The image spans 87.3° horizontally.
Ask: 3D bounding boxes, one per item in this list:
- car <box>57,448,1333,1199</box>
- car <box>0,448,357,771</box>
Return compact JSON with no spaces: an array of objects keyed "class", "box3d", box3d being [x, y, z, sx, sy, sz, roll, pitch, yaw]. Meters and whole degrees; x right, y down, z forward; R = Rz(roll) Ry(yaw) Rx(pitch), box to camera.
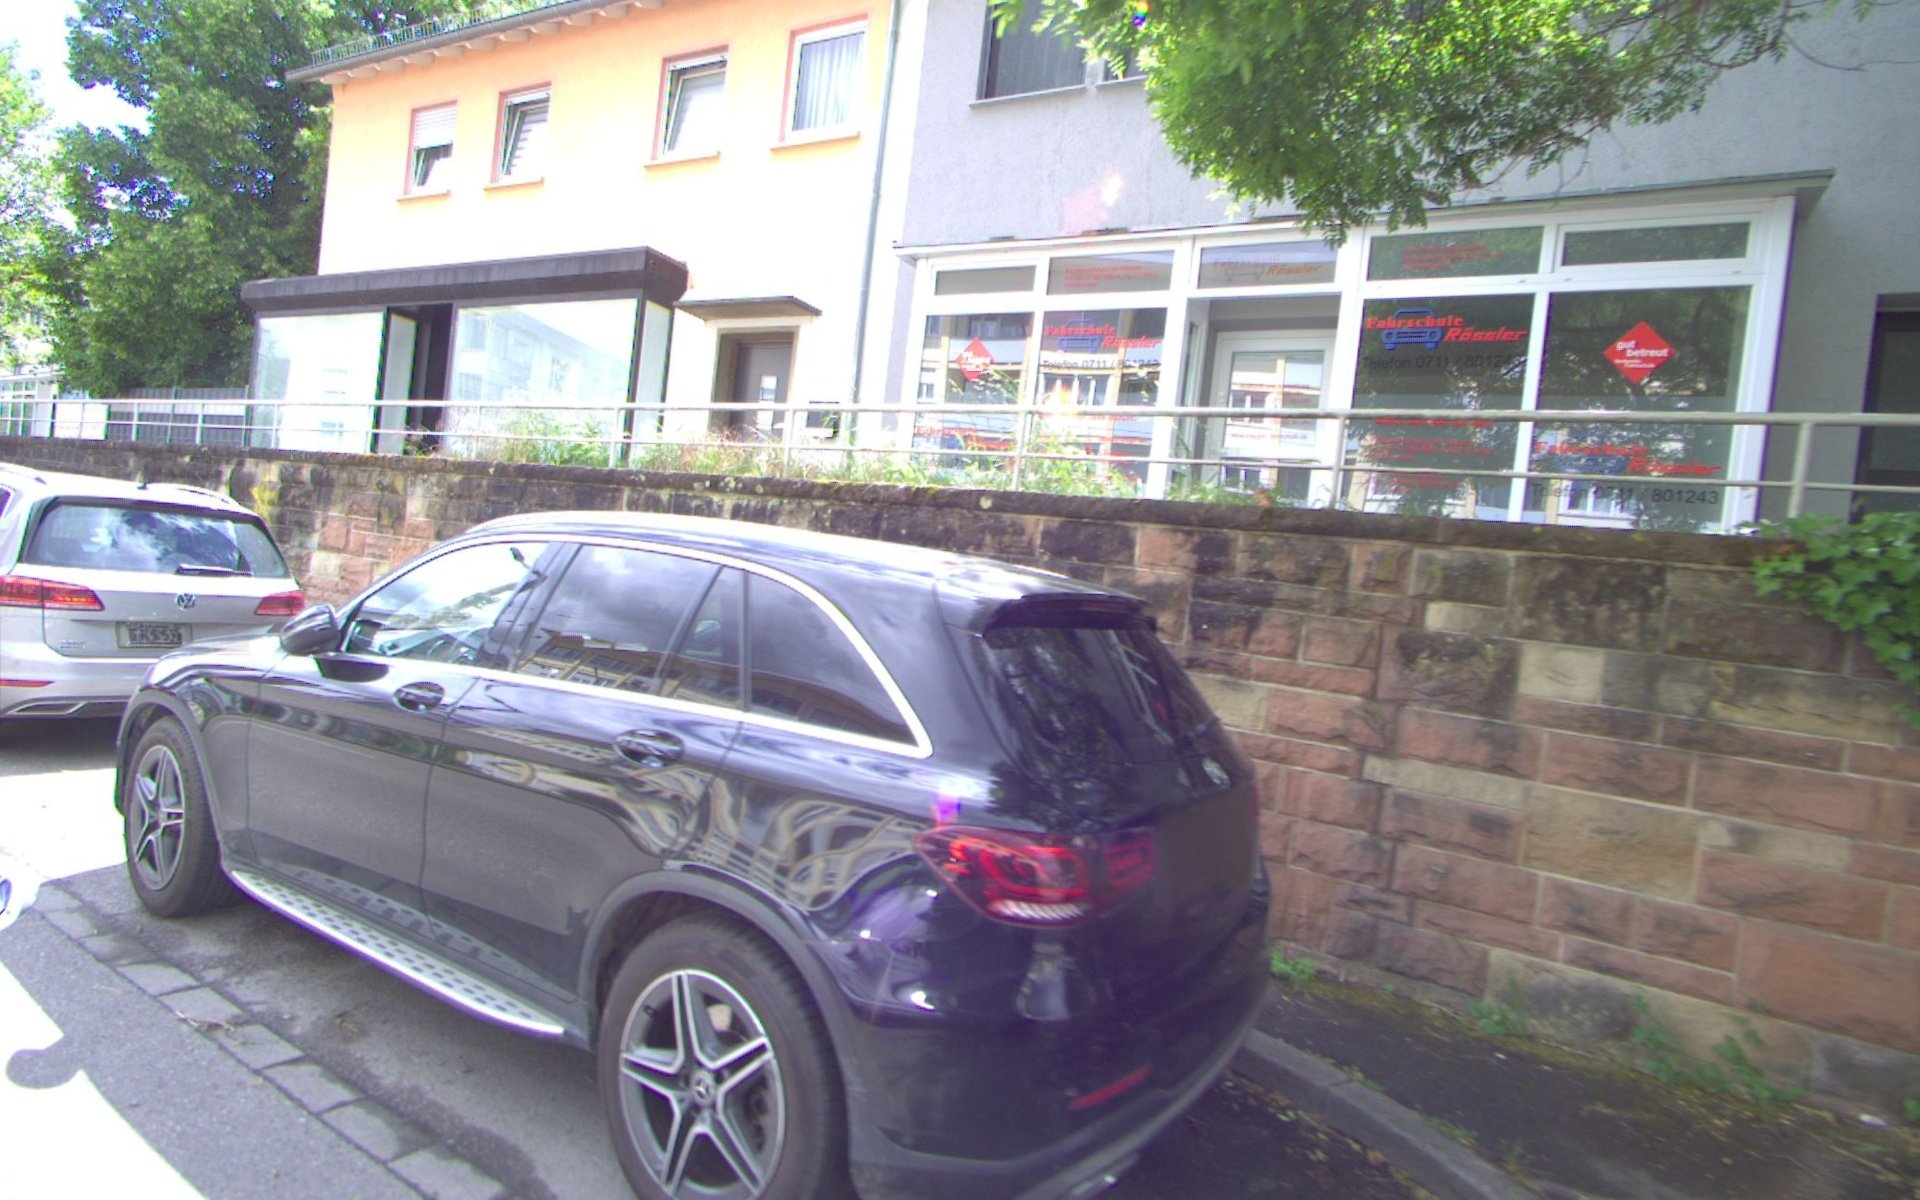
[{"class":"car","box3d":[-1.201,0.482,3.606,4.373,1.639,1.791,7,2,31]},{"class":"car","box3d":[-6.224,-0.119,6.859,4.177,1.638,1.791,7,1,31]}]
